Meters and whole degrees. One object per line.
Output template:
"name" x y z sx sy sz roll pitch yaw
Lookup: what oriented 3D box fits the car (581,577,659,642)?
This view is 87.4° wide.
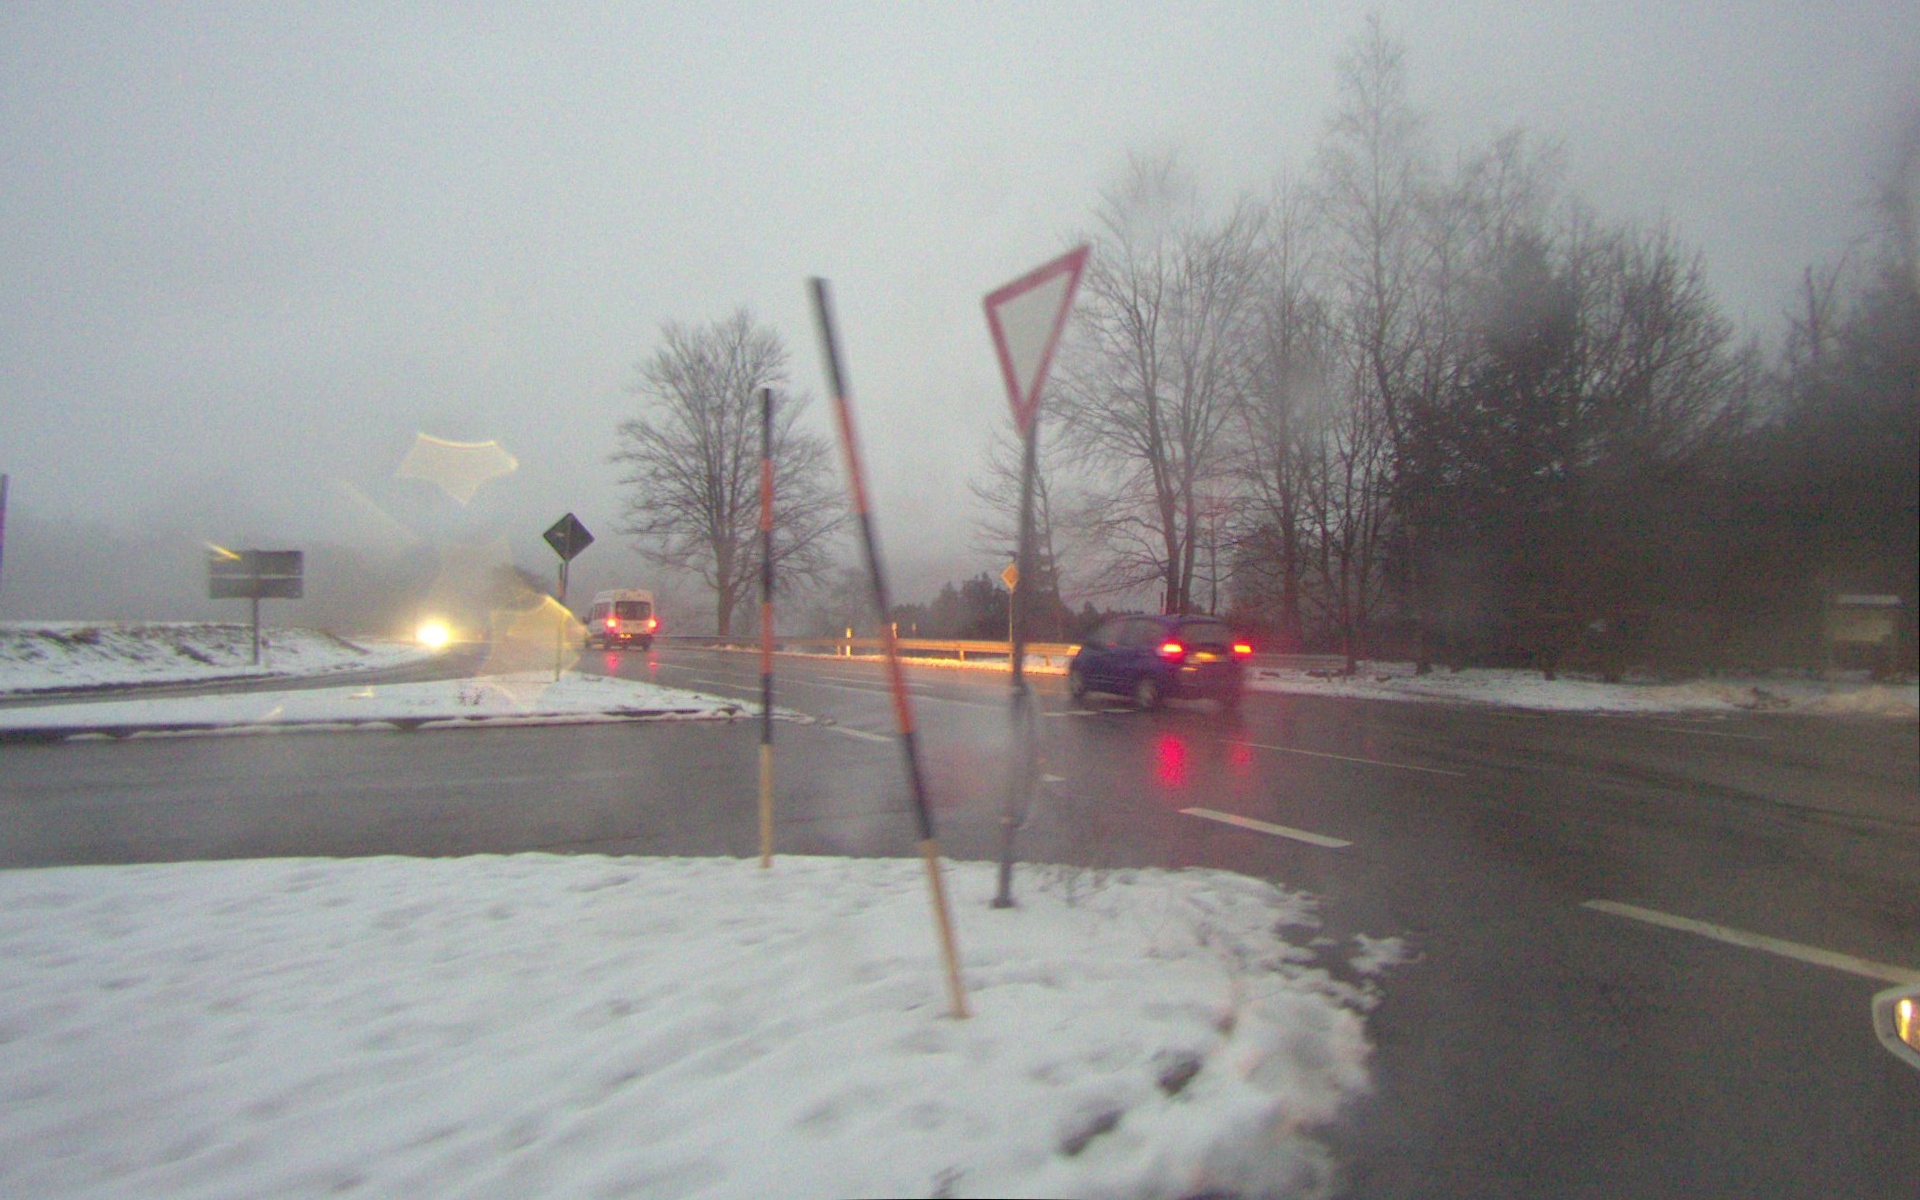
"car" -15.820 0.381 46.523 2.130 2.731 5.479 3 0 -32

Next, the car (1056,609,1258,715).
"car" 3.192 0.984 17.040 1.671 1.572 3.840 2 -2 -19
